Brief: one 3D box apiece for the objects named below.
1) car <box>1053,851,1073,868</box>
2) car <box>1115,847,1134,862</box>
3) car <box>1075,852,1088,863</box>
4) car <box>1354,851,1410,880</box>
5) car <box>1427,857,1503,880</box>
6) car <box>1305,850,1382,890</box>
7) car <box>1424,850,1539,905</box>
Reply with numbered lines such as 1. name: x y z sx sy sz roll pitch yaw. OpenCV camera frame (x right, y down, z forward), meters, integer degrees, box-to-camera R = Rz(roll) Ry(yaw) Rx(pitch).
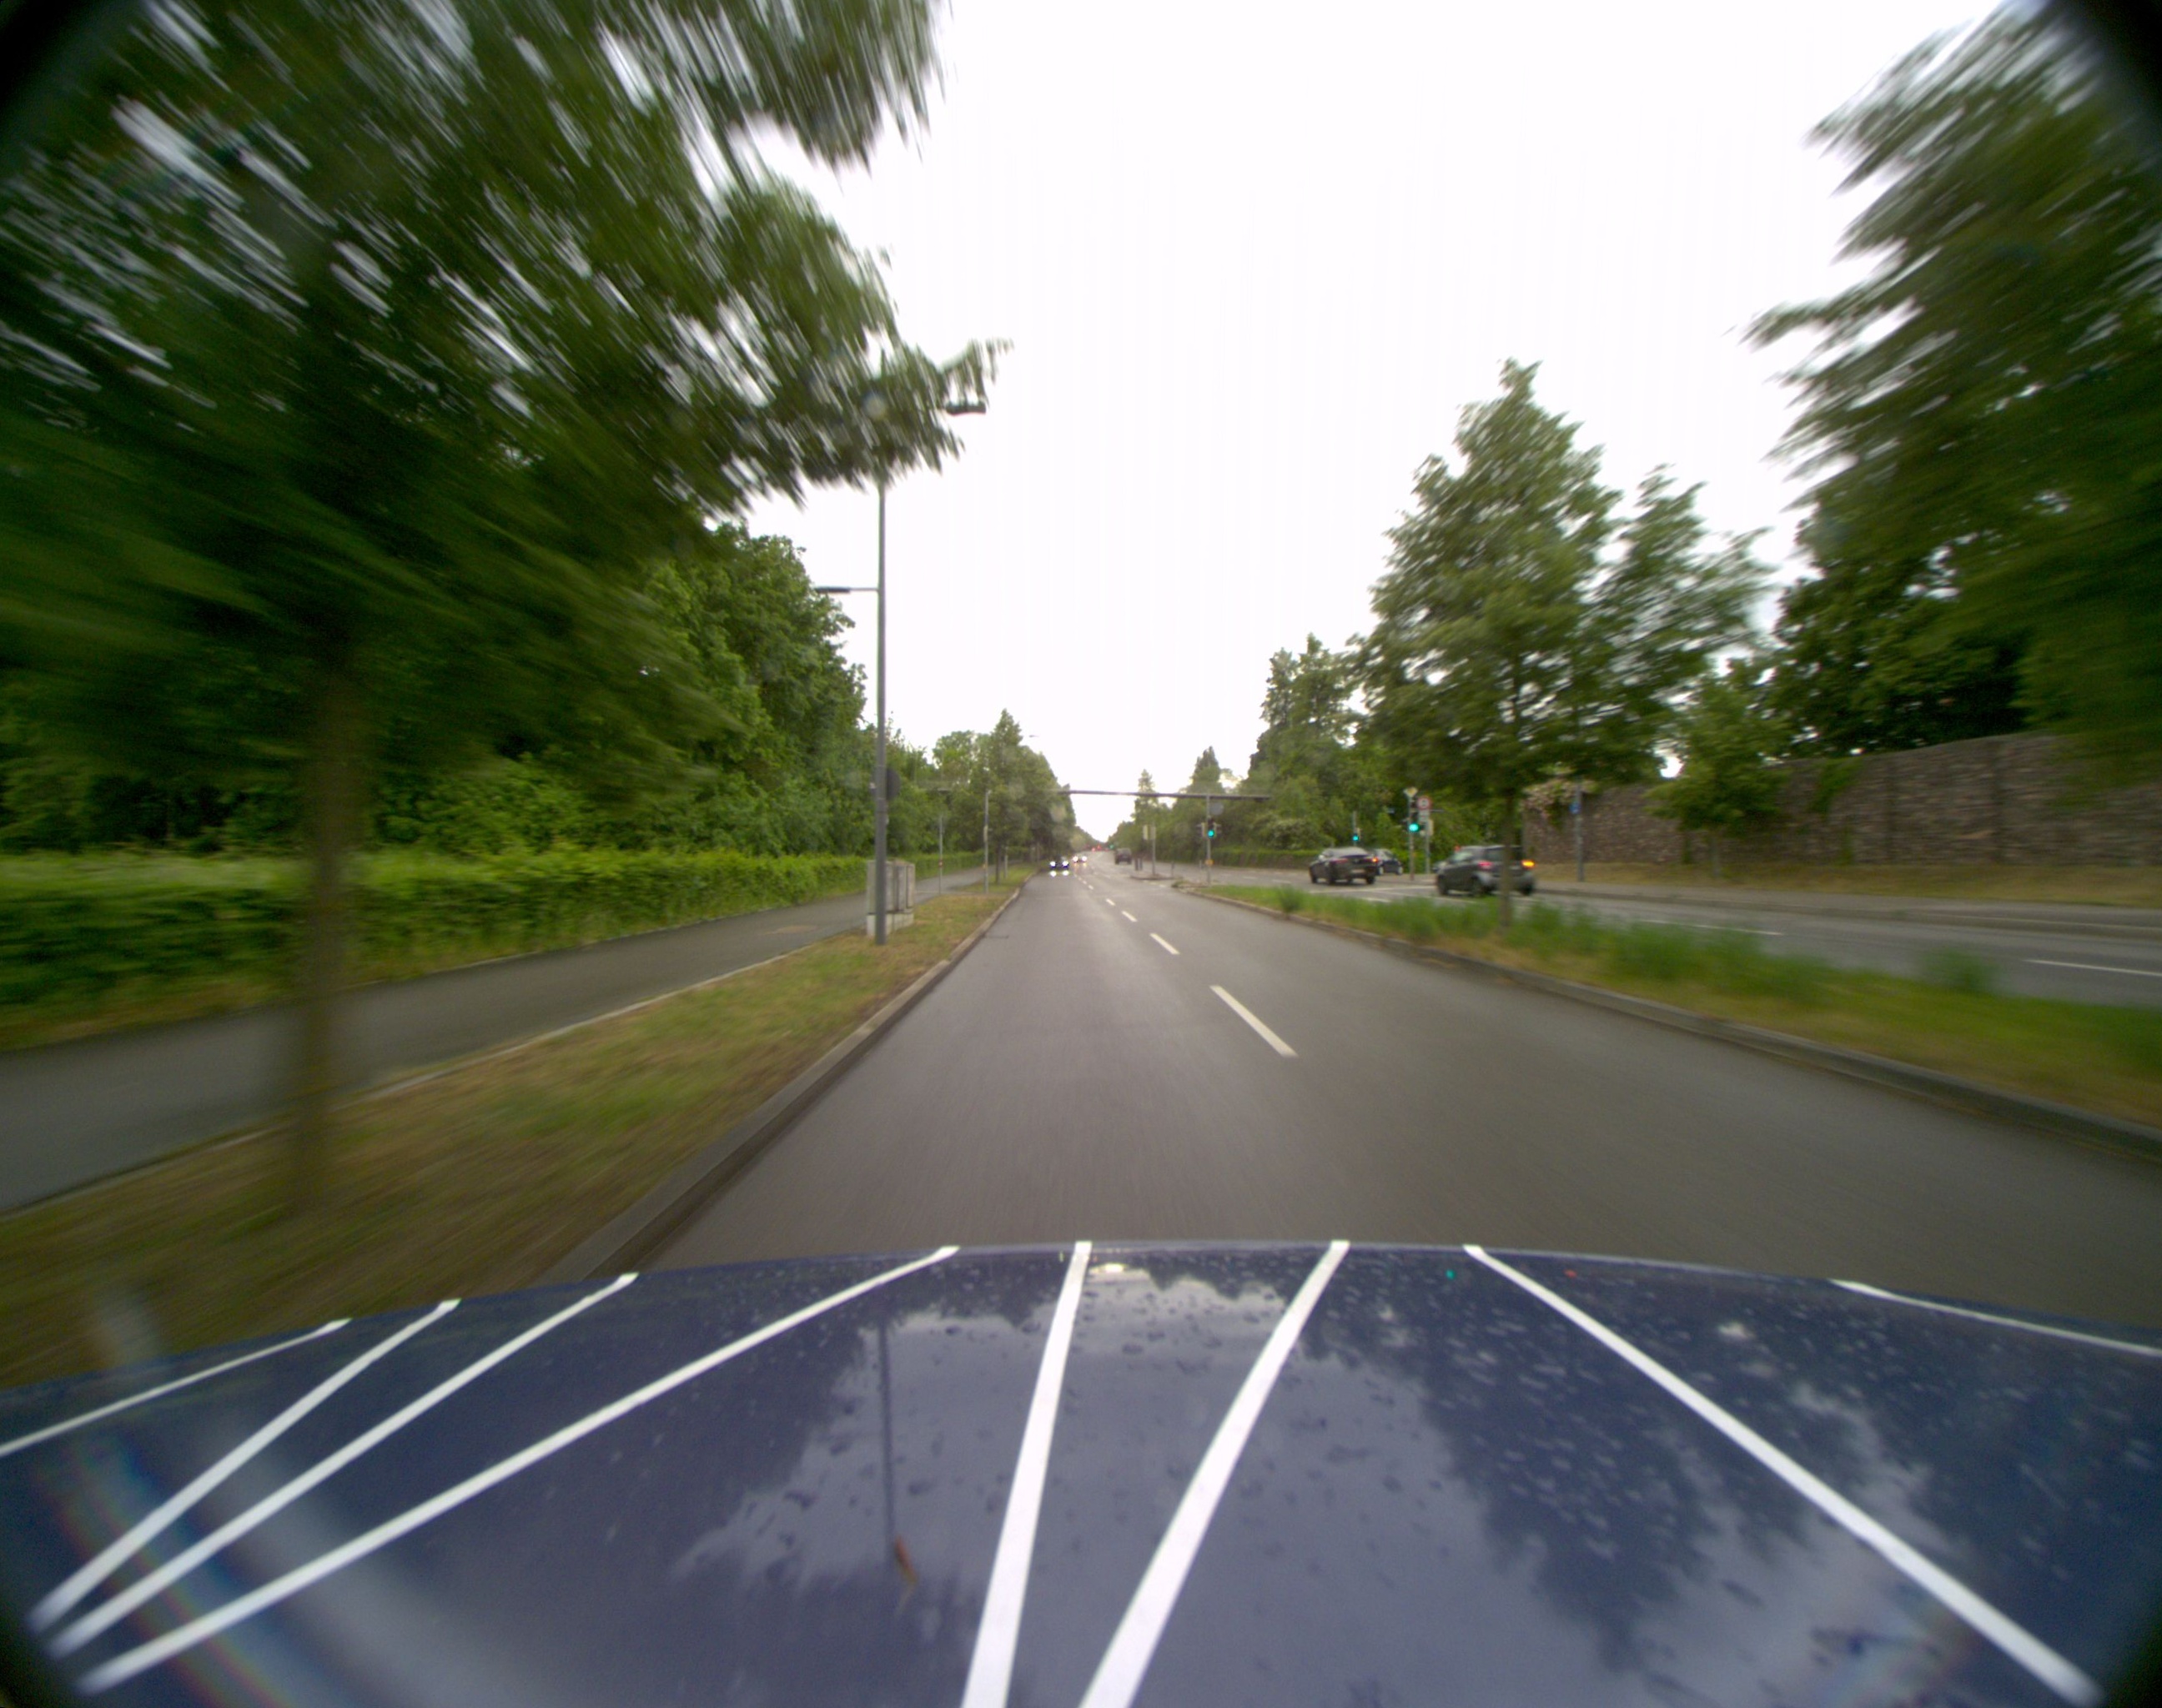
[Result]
1. car: -1.732 0.546 73.599 1.824 1.547 3.999 -1 1 1
2. car: 5.569 0.017 98.514 2.019 1.908 5.094 -1 0 -1
3. car: 0.098 0.494 117.920 1.824 1.547 3.998 -1 1 -2
4. car: 16.951 0.617 42.708 1.599 1.481 4.008 -1 0 42
5. car: 24.571 0.941 48.733 3.996 1.464 1.693 1 -2 3
6. car: 11.376 0.646 33.286 1.885 1.586 4.767 -2 0 2
7. car: 12.015 0.681 22.981 1.691 1.530 2.915 -1 -1 -6
